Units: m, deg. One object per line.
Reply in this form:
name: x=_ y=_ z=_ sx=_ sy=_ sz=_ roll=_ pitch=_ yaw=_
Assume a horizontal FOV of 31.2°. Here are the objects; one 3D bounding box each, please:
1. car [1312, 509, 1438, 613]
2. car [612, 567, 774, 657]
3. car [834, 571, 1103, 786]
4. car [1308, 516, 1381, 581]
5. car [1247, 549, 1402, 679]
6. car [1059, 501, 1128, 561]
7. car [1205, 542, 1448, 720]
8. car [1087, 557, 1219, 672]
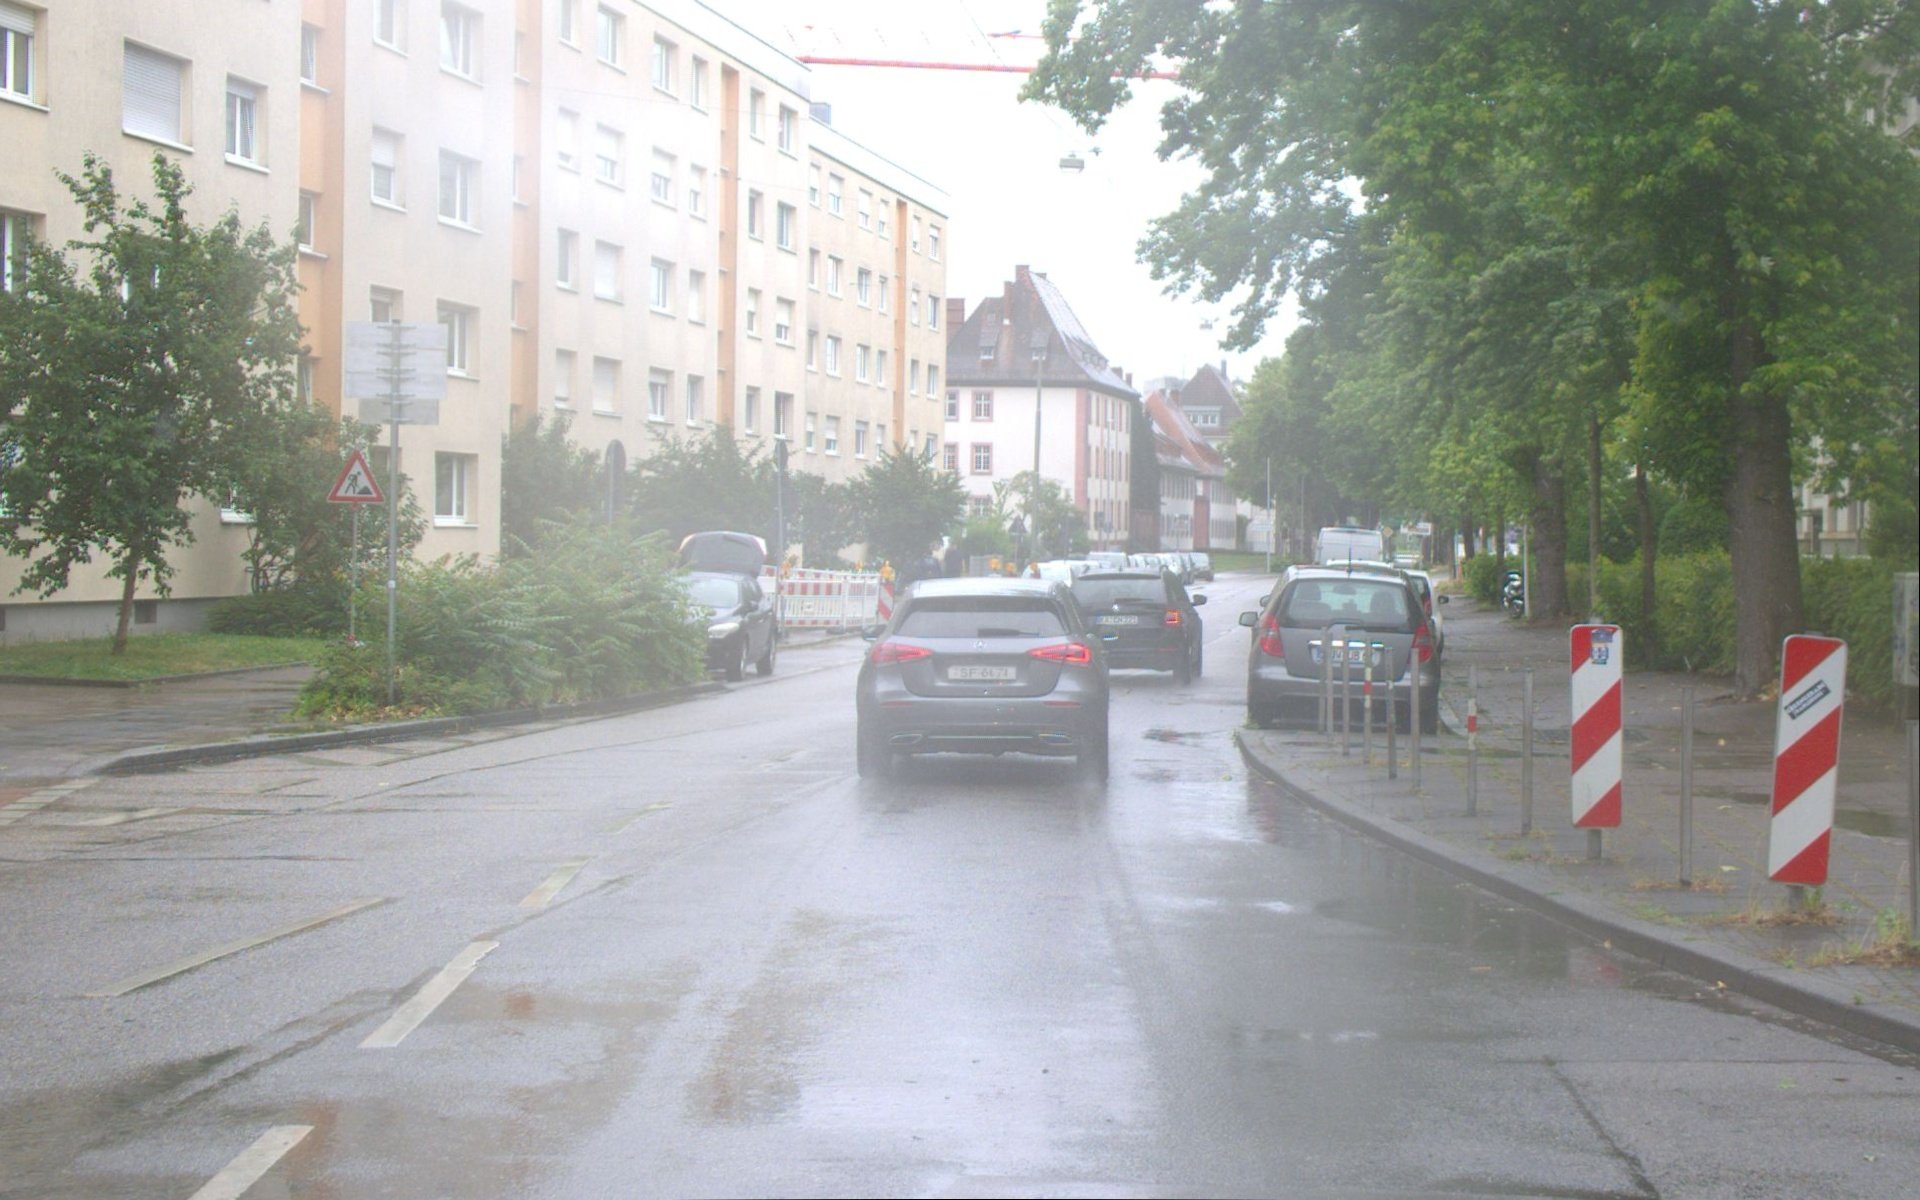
car: x=6.576 y=-0.630 z=54.601 sx=1.890 sy=1.568 sz=3.999 roll=1 pitch=1 yaw=7
car: x=-3.733 y=0.143 z=48.541 sx=1.590 sy=1.202 sz=3.459 roll=1 pitch=1 yaw=8
car: x=0.130 y=0.526 z=25.404 sx=1.791 sy=1.367 sz=3.506 roll=2 pitch=1 yaw=3
car: x=11.254 y=-1.492 z=100.618 sx=2.047 sy=1.830 sz=4.791 roll=1 pitch=1 yaw=7
car: x=4.724 y=0.146 z=44.414 sx=1.890 sy=1.568 sz=3.999 roll=1 pitch=1 yaw=7
car: x=4.236 y=-2.169 z=108.599 sx=1.890 sy=1.830 sz=3.999 roll=1 pitch=1 yaw=7
car: x=3.427 y=0.250 z=32.830 sx=1.993 sy=1.568 sz=4.000 roll=1 pitch=1 yaw=2
car: x=2.451 y=0.149 z=44.004 sx=1.607 sy=1.368 sz=4.000 roll=0 pitch=1 yaw=3
